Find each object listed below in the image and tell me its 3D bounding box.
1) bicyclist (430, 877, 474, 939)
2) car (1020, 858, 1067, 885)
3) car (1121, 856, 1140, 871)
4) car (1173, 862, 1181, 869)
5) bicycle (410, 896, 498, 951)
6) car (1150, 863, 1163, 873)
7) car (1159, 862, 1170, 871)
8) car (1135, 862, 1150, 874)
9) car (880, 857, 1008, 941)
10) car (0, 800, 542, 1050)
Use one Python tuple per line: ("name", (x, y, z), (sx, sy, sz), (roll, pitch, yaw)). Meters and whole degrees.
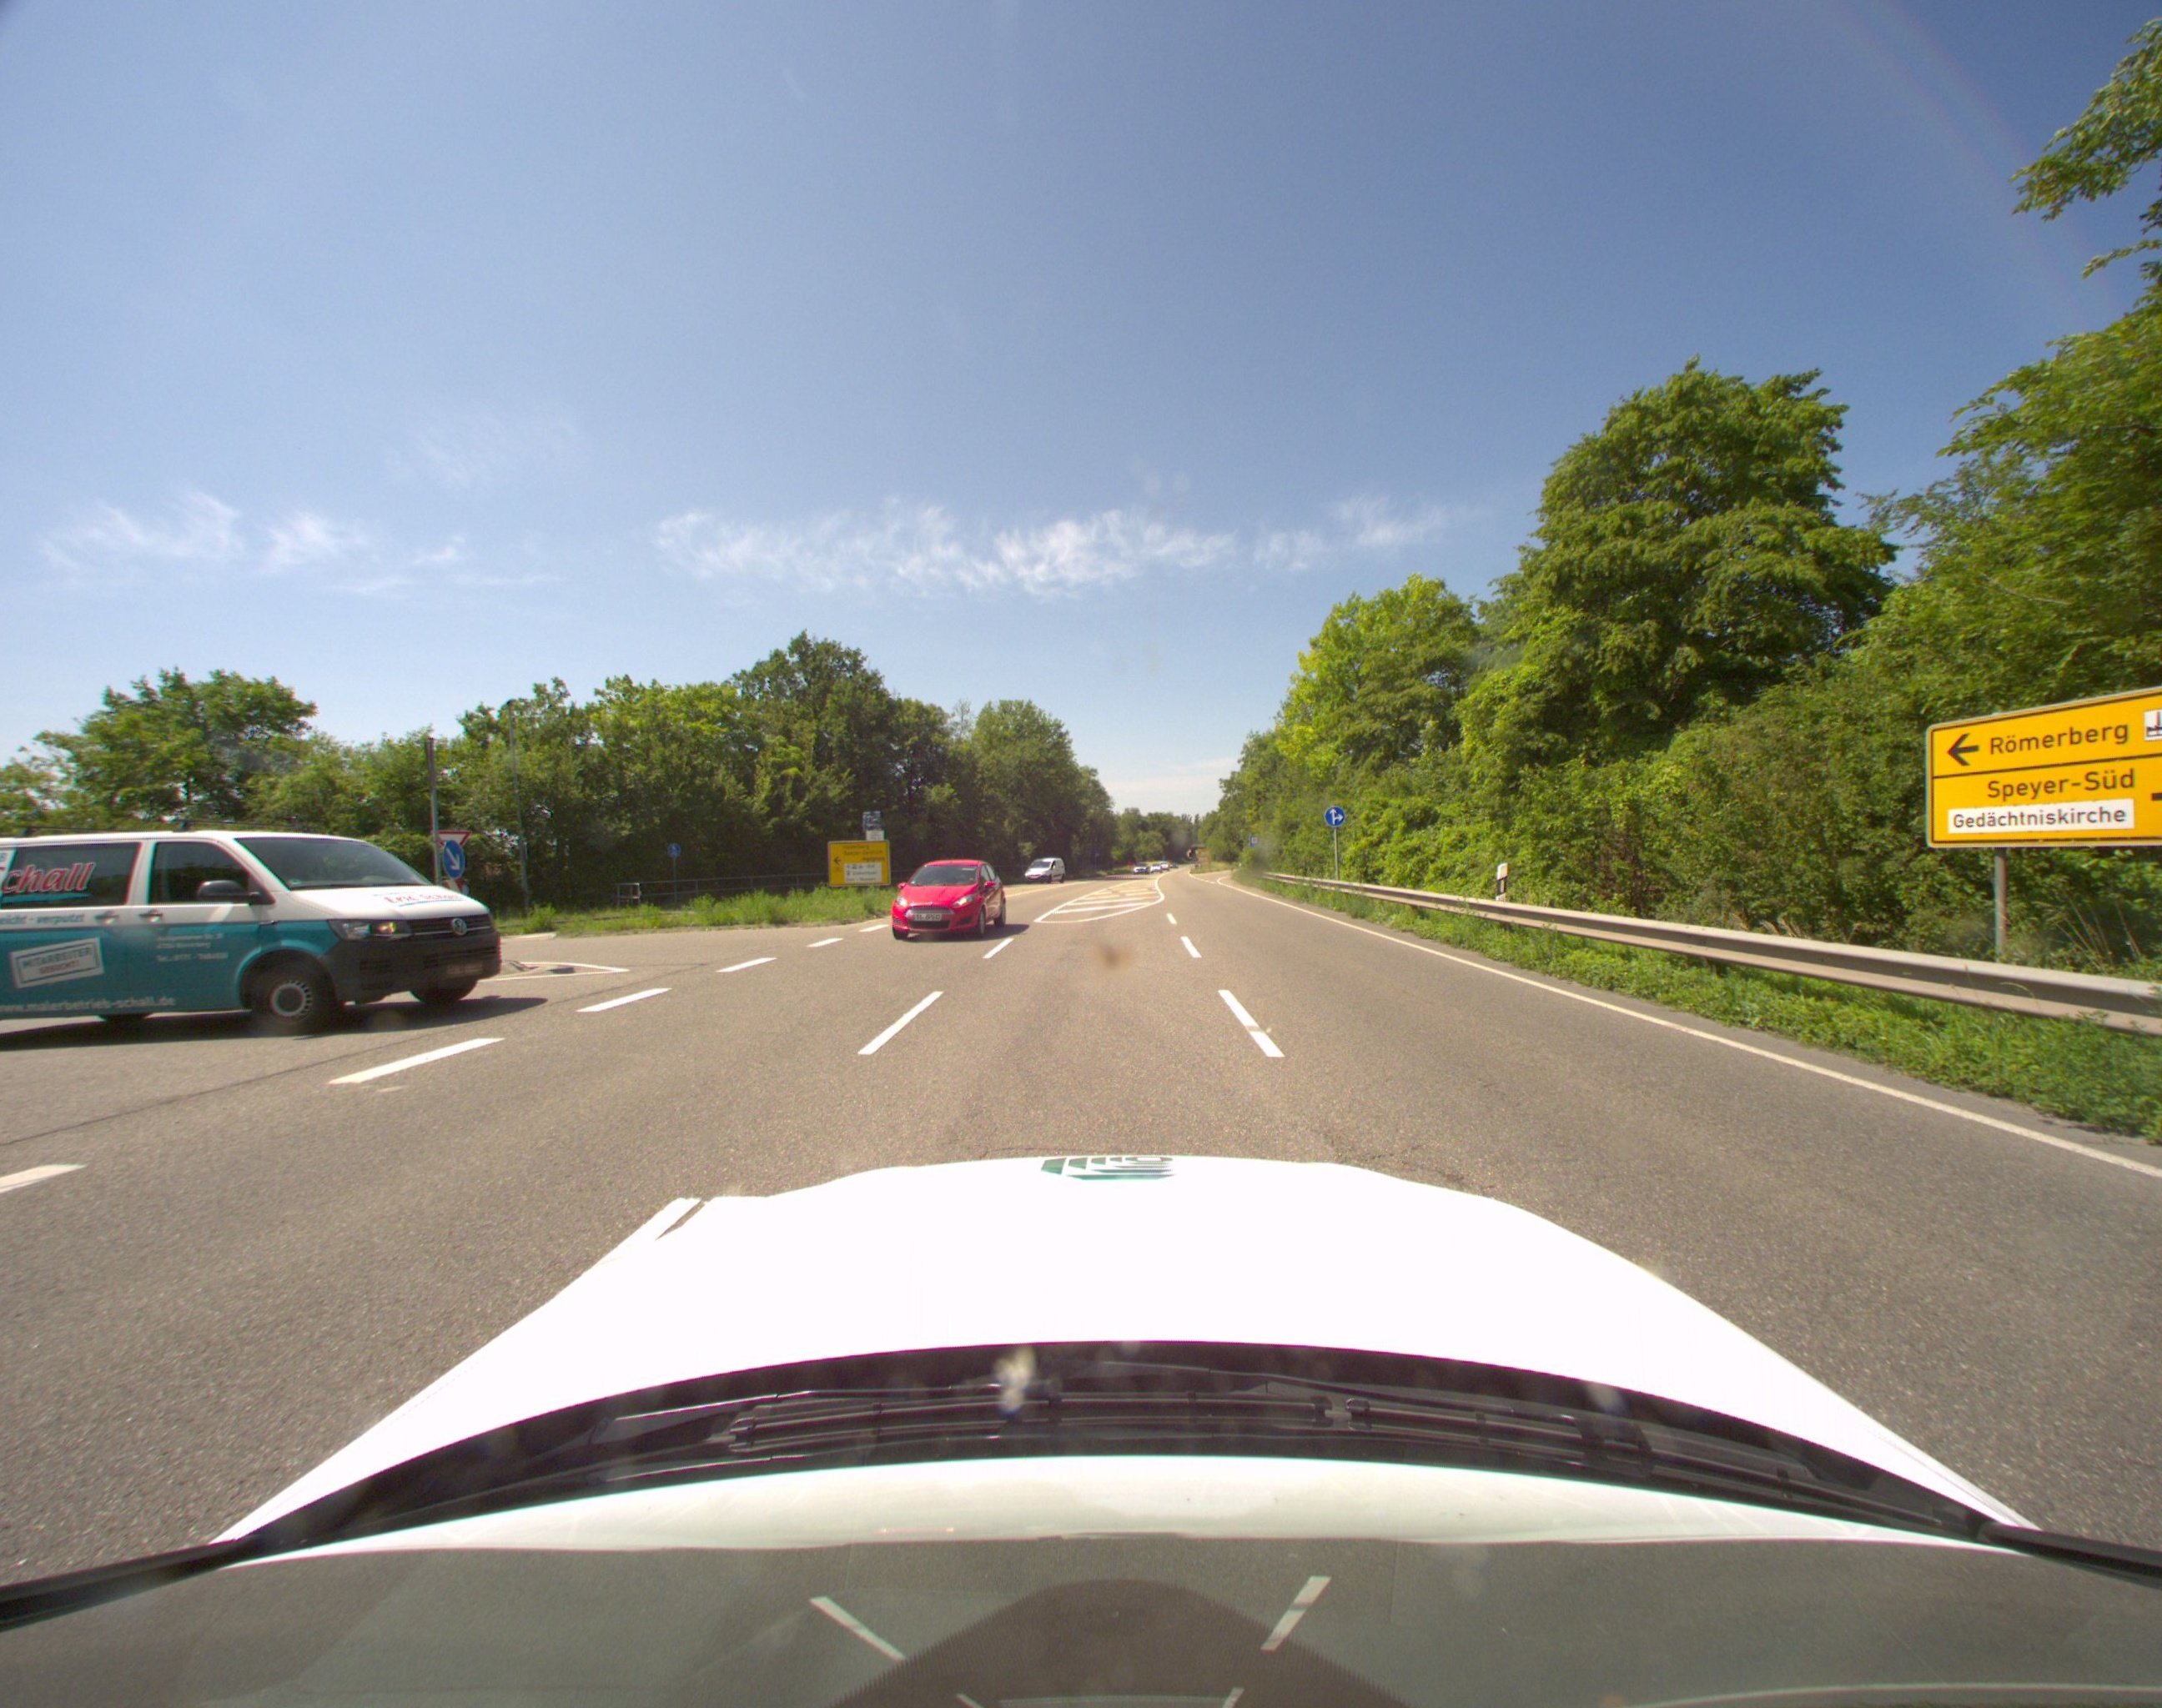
("bicyclist", (-14.341, 1.217, 18.575), (0.681, 1.363, 0.613), (-2, -1, 36))
("car", (-2.600, 1.217, 57.792), (1.978, 1.730, 4.293), (-2, 0, 17))
("car", (10.902, 2.093, 178.158), (2.004, 3.226, 4.767), (-1, 0, -26))
("car", (22.170, 2.574, 187.912), (1.710, 1.509, 3.718), (-2, 0, 9))
("bicycle", (-14.301, 1.559, 18.612), (0.431, 1.113, 1.491), (-2, 0, 36))
("car", (11.977, 2.229, 128.909), (1.667, 1.527, 4.011), (-2, 0, 10))
("car", (15.401, 2.290, 150.294), (1.710, 1.528, 3.718), (-2, 0, 9))
("car", (8.541, 1.911, 112.960), (1.668, 1.527, 4.009), (-2, 0, 8))
("car", (-2.607, 0.815, 16.372), (1.803, 1.458, 3.759), (-1, 0, 2))
("car", (-8.764, 0.675, 8.229), (5.155, 2.027, 1.999), (-3, 0, -1))
